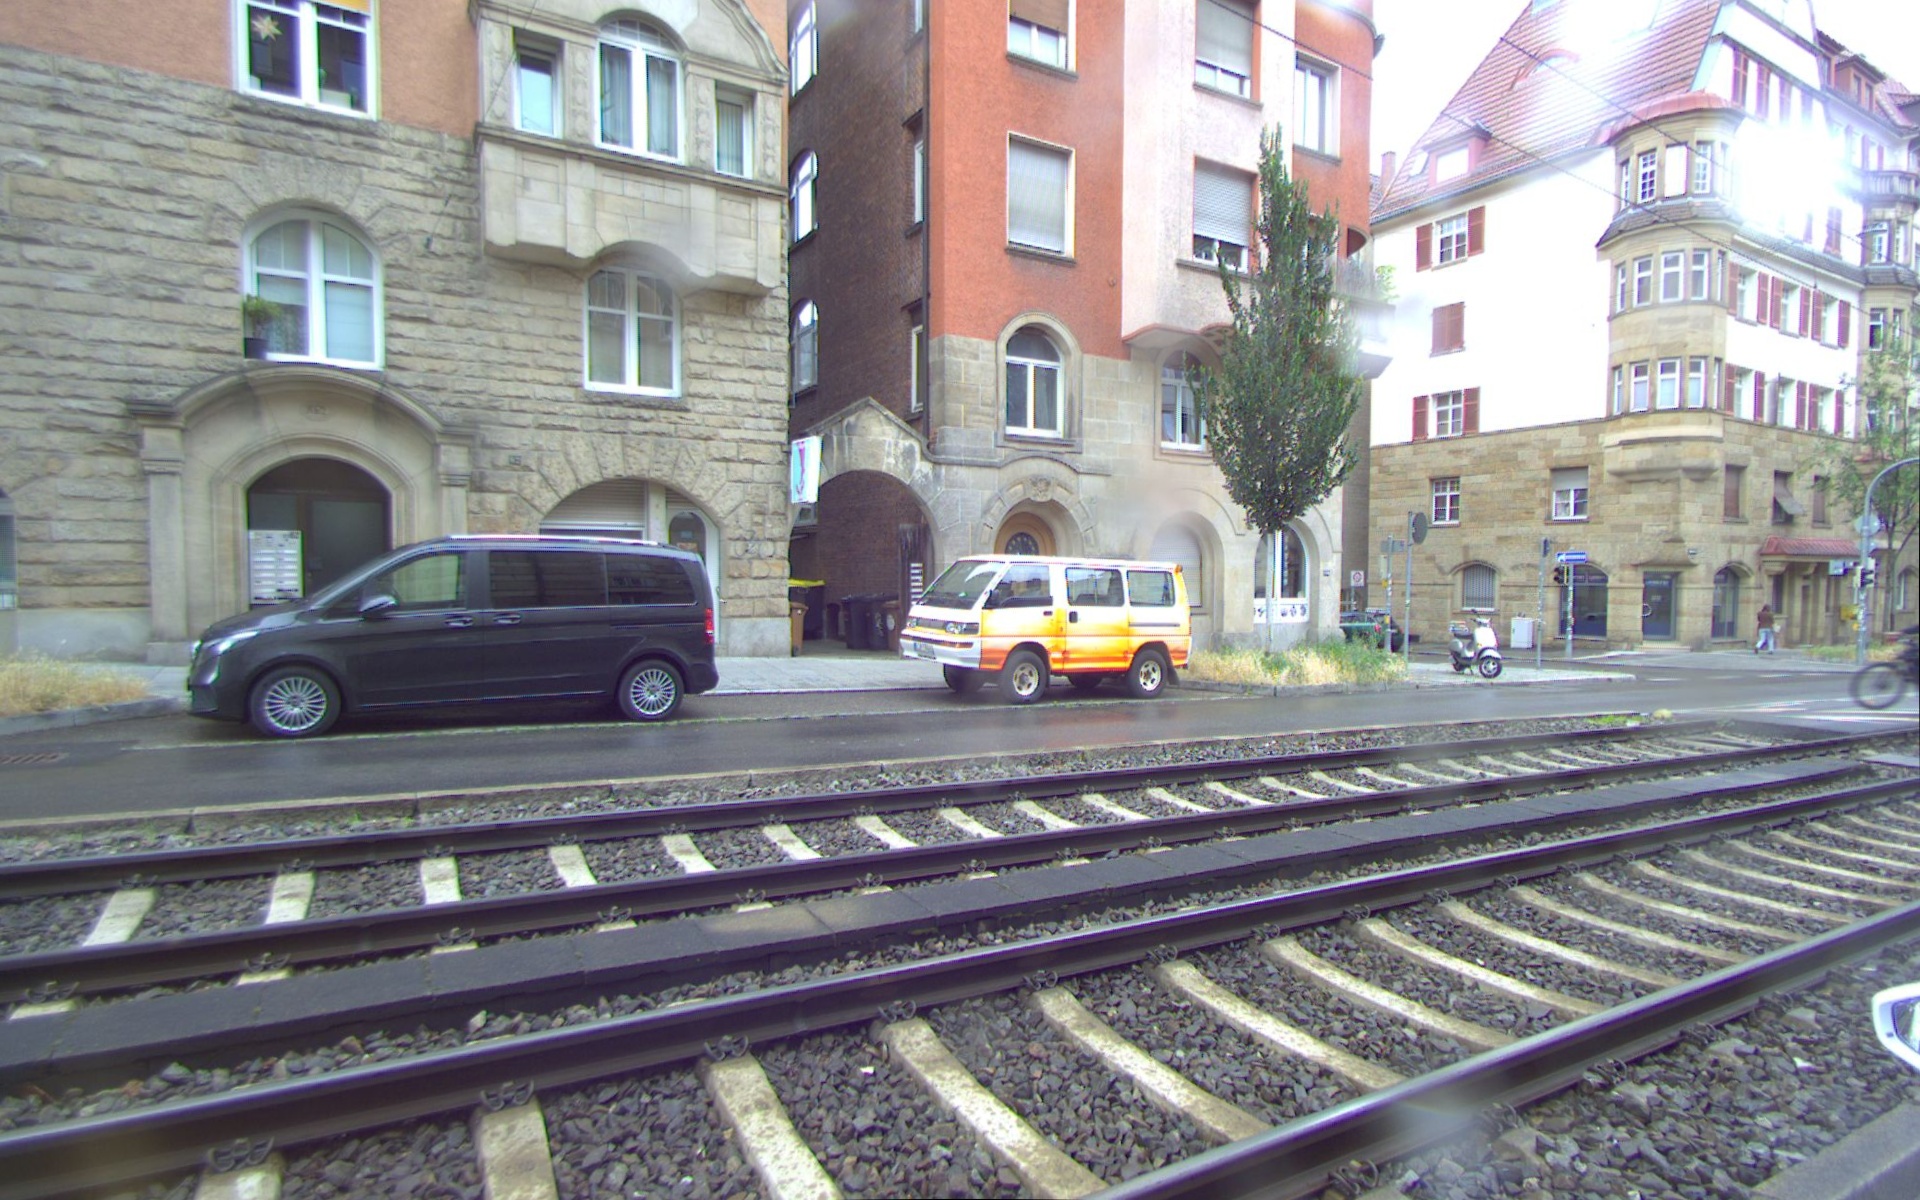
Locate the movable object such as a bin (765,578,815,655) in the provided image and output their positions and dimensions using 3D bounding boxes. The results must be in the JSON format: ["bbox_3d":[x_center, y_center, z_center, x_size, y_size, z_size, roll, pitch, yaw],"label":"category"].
[{"bbox_3d":[-3.135,0.290,18.458,0.648,1.360,0.903,1,1,-27],"label":"movable object such as a bin"}]

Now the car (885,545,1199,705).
[{"bbox_3d":[1.246,0.367,14.434,4.295,2.001,1.721,2,0,-32],"label":"car"}]

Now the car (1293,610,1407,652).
[{"bbox_3d":[14.433,1.136,37.339,1.683,1.423,3.618,2,0,-34],"label":"car"}]

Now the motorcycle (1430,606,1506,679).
[{"bbox_3d":[10.077,0.820,19.995,0.612,1.384,1.596,2,0,-3],"label":"motorcycle"}]

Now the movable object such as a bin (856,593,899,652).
[{"bbox_3d":[-1.575,0.429,19.134,0.607,1.090,0.679,1,-1,-27],"label":"movable object such as a bin"}]

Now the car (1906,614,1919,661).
[{"bbox_3d":[34.139,1.317,34.348,3.994,1.573,1.741,2,0,-34],"label":"car"}]

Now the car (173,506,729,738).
[{"bbox_3d":[-5.080,0.243,10.590,4.769,1.968,1.984,2,0,-30],"label":"car"}]

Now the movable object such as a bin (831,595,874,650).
[{"bbox_3d":[-2.112,0.433,19.681,0.607,1.053,0.793,1,-1,-27],"label":"movable object such as a bin"}]

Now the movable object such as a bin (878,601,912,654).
[{"bbox_3d":[-1.202,0.504,18.626,0.442,0.957,0.557,1,-1,-27],"label":"movable object such as a bin"}]

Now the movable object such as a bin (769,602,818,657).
[{"bbox_3d":[-2.921,0.512,17.586,0.627,0.918,0.793,1,1,-27],"label":"movable object such as a bin"}]

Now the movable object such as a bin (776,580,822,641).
[{"bbox_3d":[-3.639,0.224,22.652,0.676,1.324,1.154,1,1,-26],"label":"movable object such as a bin"}]

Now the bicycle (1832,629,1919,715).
[{"bbox_3d":[14.242,1.062,14.740,1.997,1.202,0.826,2,0,21],"label":"bicycle"}]

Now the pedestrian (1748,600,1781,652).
[{"bbox_3d":[26.472,0.848,33.038,0.695,1.695,0.627,2,0,-32],"label":"pedestrian"}]

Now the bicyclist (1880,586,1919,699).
[{"bbox_3d":[14.457,0.631,14.666,1.229,1.618,0.887,2,0,20],"label":"bicyclist"}]
